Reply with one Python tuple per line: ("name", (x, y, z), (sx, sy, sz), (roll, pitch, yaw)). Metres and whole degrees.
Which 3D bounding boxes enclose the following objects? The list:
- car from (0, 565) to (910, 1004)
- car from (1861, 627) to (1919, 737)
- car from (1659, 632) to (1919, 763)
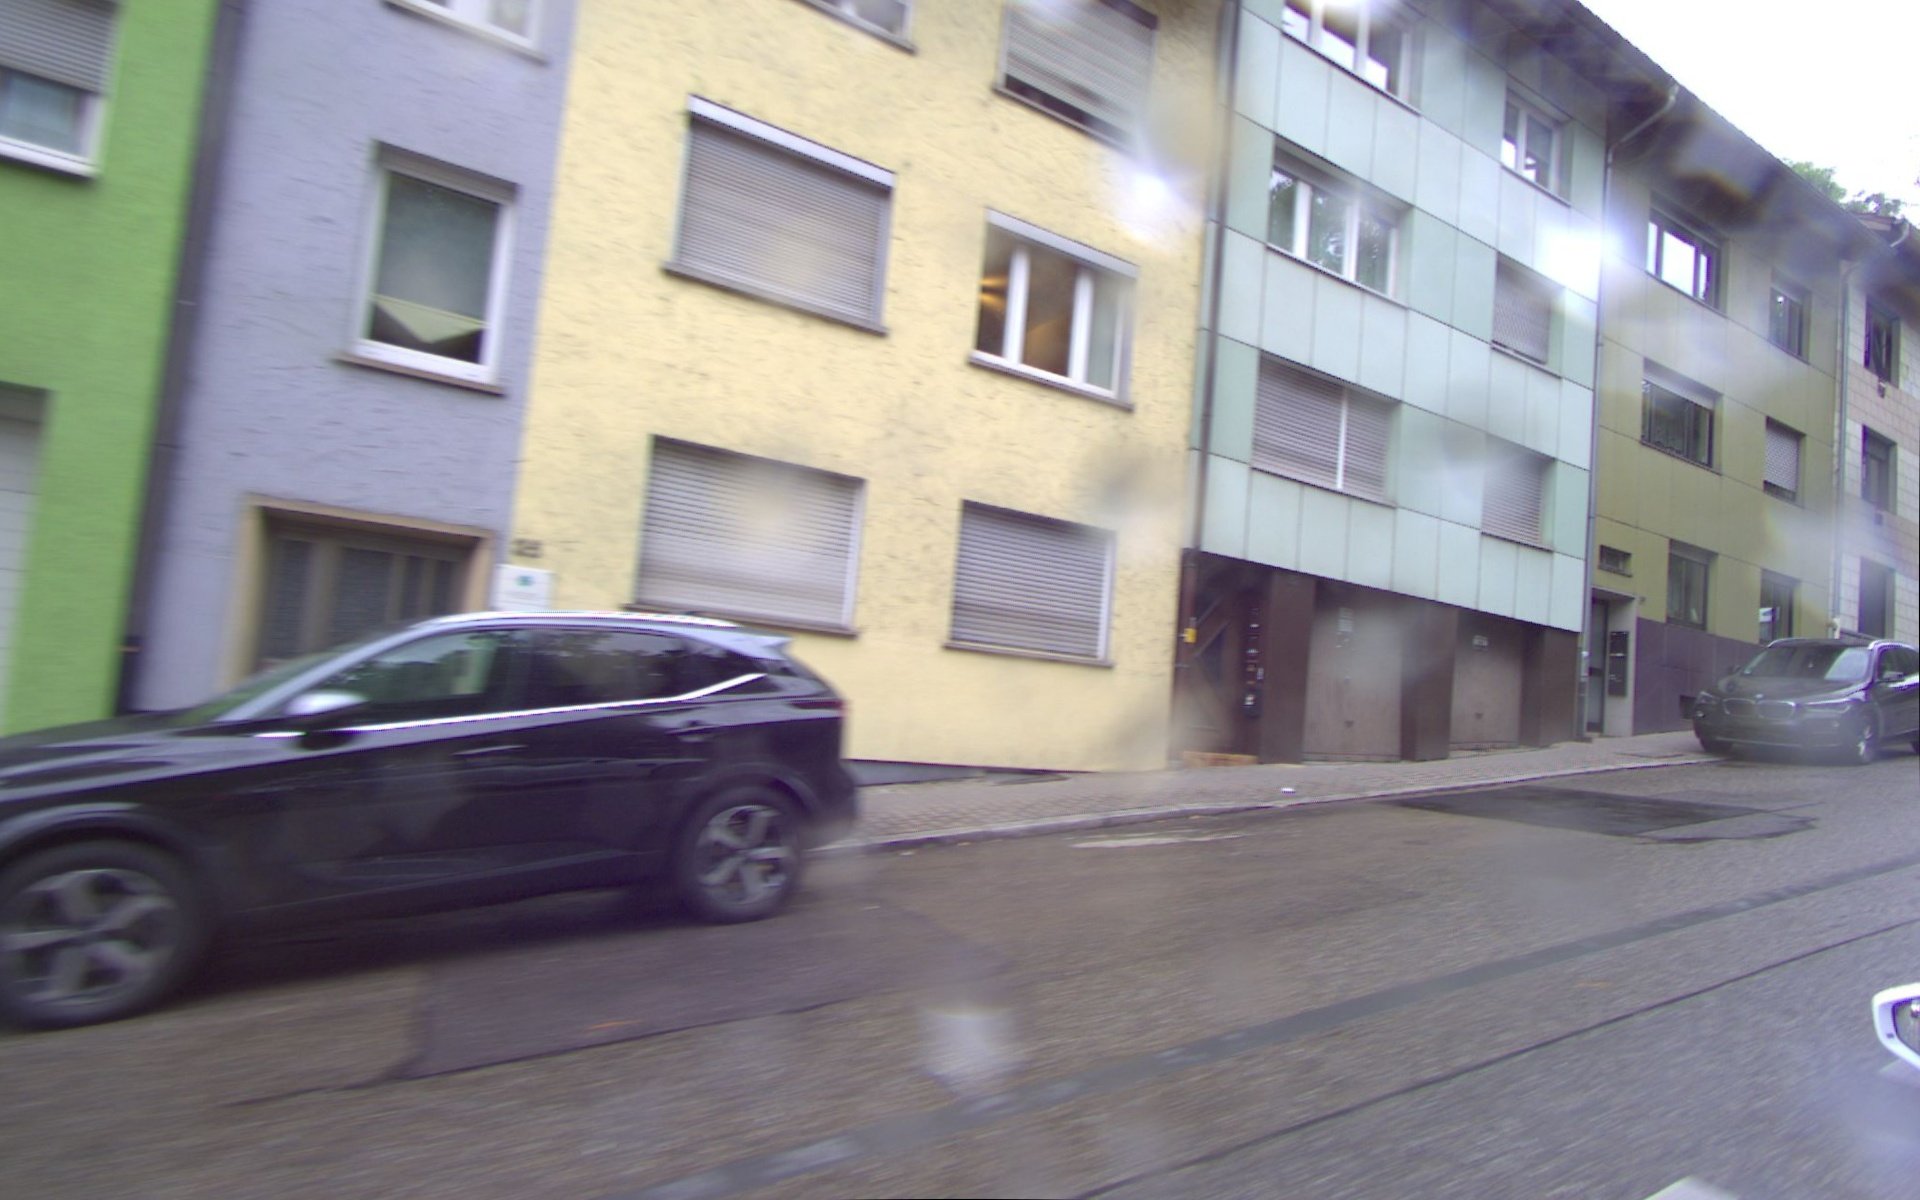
("car", (-2.566, 0.737, 5.364), (4.257, 1.606, 1.844), (2, -2, -32))
("car", (17.528, 1.366, 17.186), (4.430, 1.778, 1.980), (2, -2, -32))
("car", (12.123, 1.271, 14.351), (4.257, 1.606, 1.980), (2, -2, -32))
